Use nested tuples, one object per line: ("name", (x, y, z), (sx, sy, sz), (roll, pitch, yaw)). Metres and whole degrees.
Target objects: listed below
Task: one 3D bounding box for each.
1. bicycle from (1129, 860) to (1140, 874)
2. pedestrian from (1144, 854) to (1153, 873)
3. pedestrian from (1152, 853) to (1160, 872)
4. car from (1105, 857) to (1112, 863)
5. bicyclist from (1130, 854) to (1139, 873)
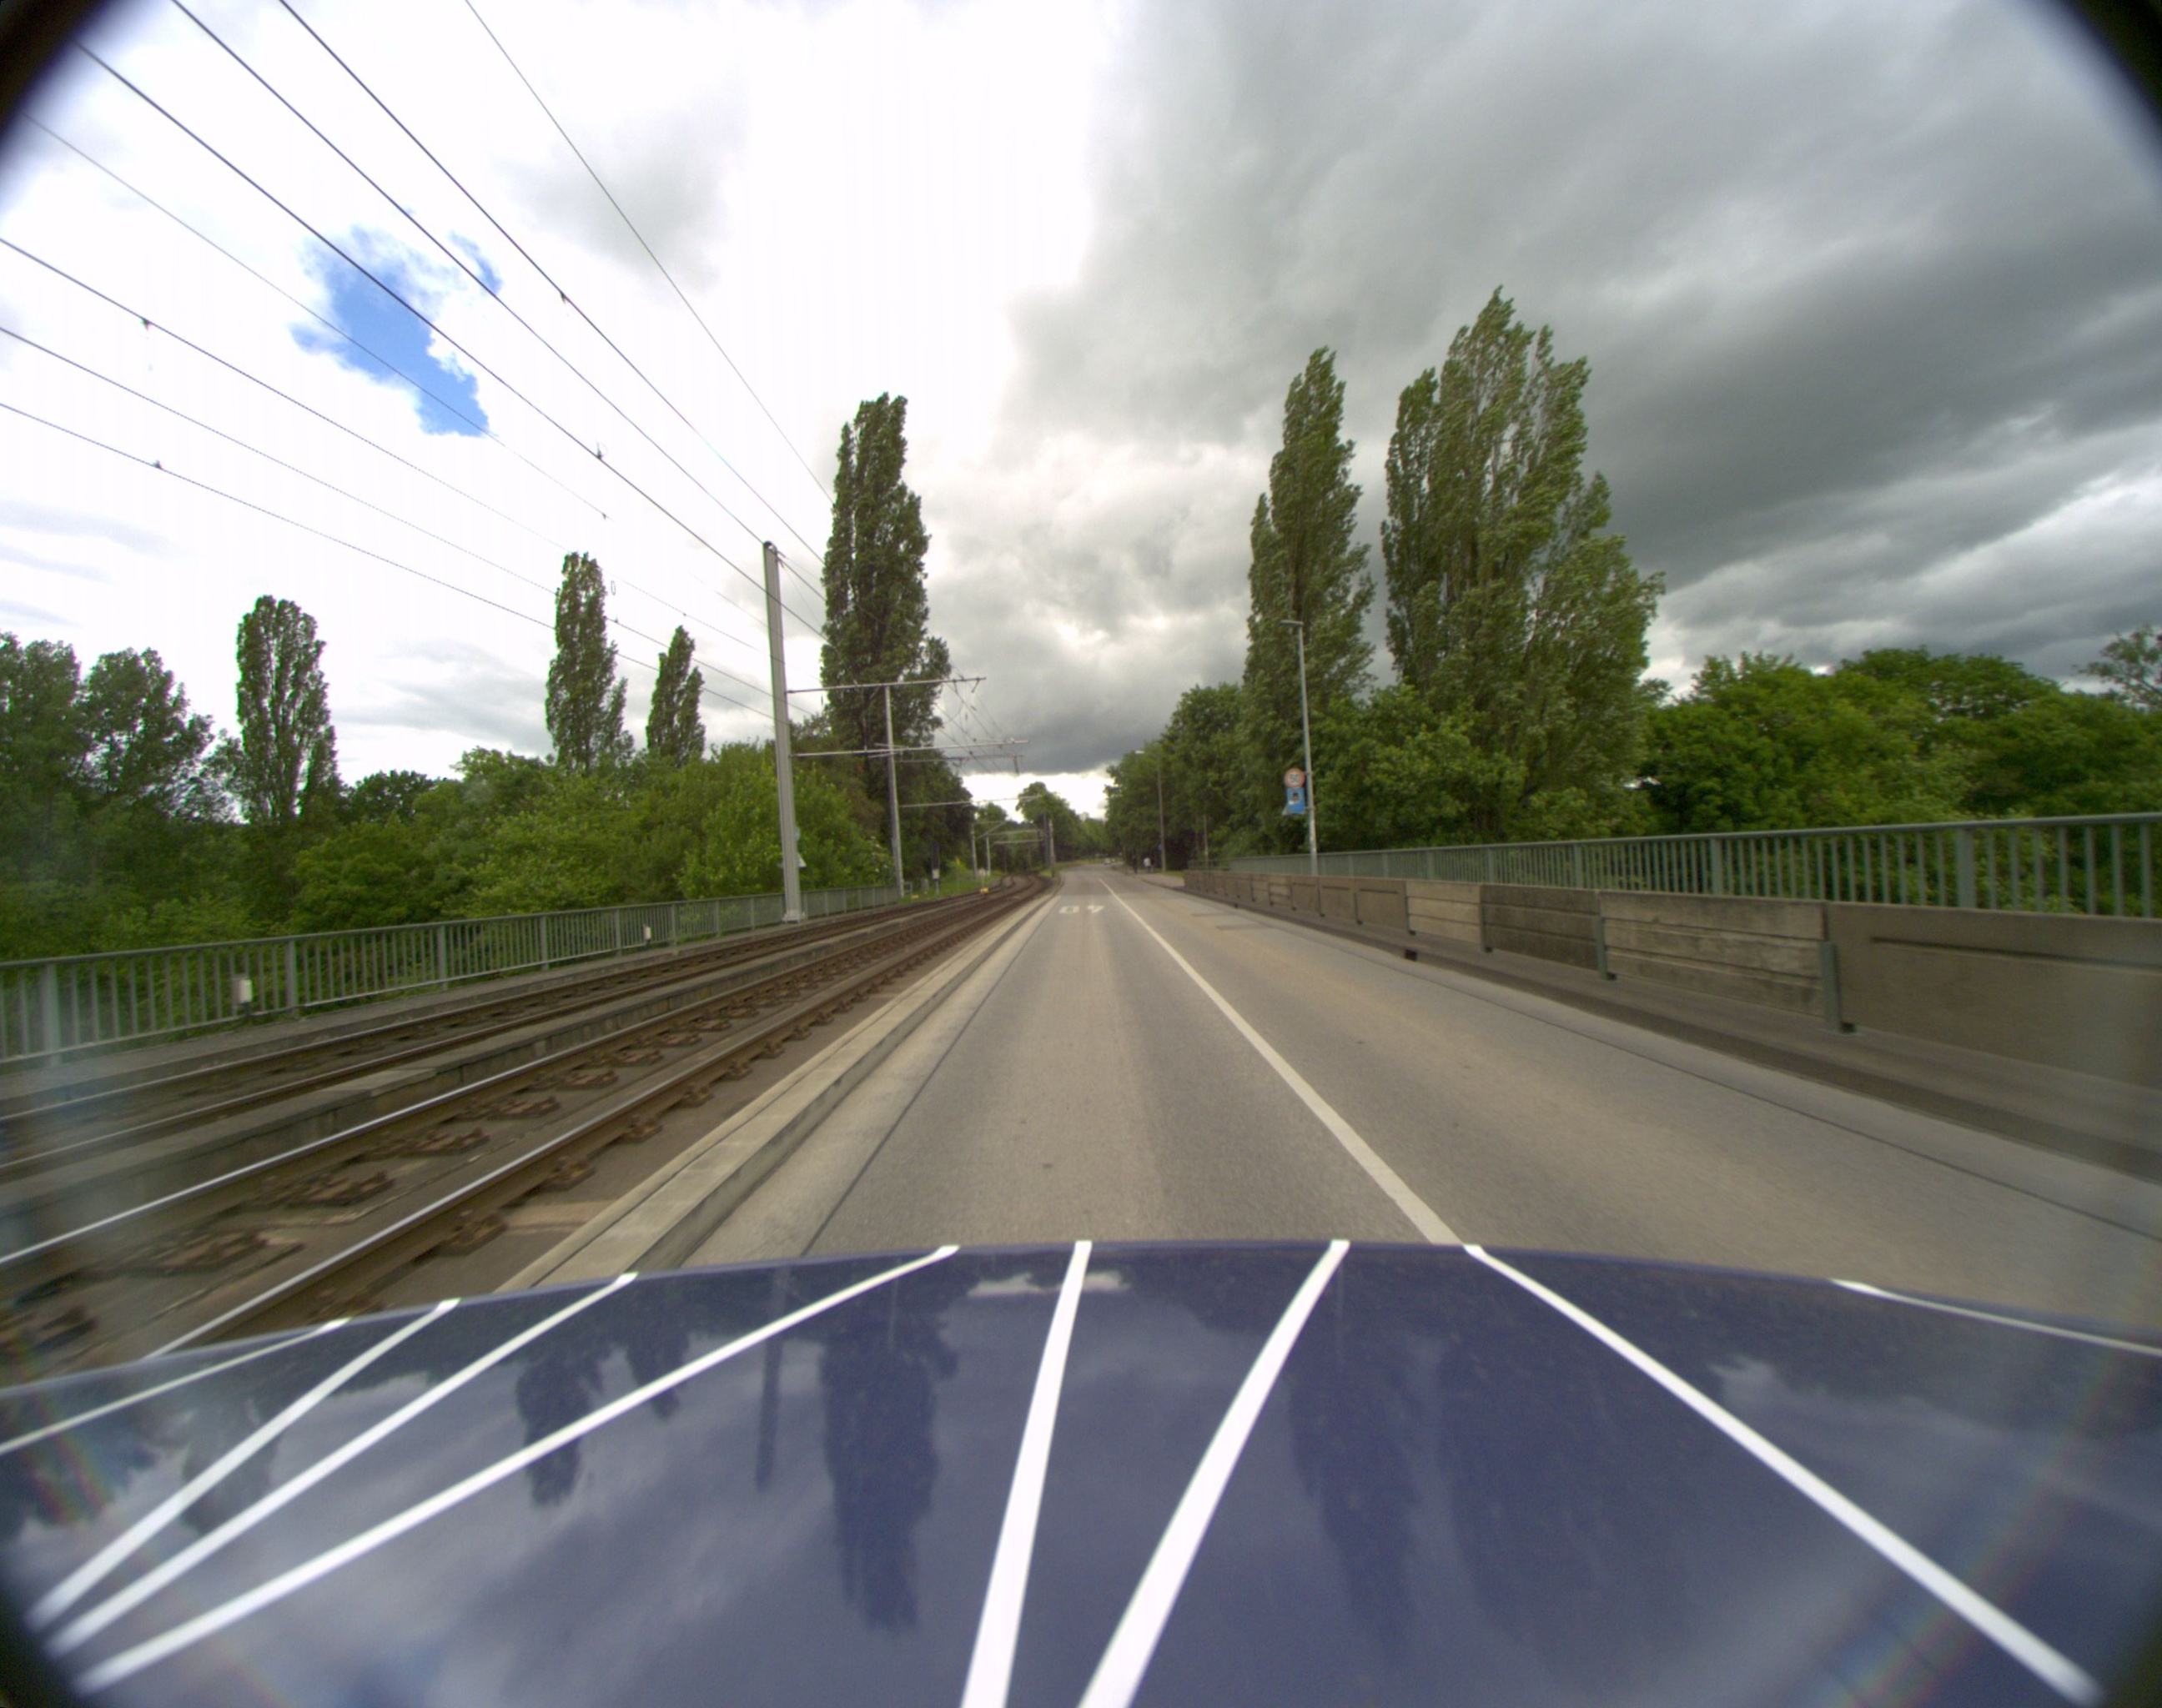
("bicycle", (5.559, 1.312, 78.582), (0.700, 1.324, 2.279), (-5, 2, -4))
("pedestrian", (6.507, 0.874, 73.017), (0.552, 1.755, 0.858), (-7, 0, -1))
("pedestrian", (7.188, 0.848, 73.012), (0.588, 1.792, 0.822), (-5, 0, -1))
("car", (7.681, 1.657, 215.579), (1.799, 1.483, 4.180), (-1, 0, -1))
("bicyclist", (5.532, 1.010, 78.832), (0.688, 1.936, 0.835), (-4, 0, -4))
